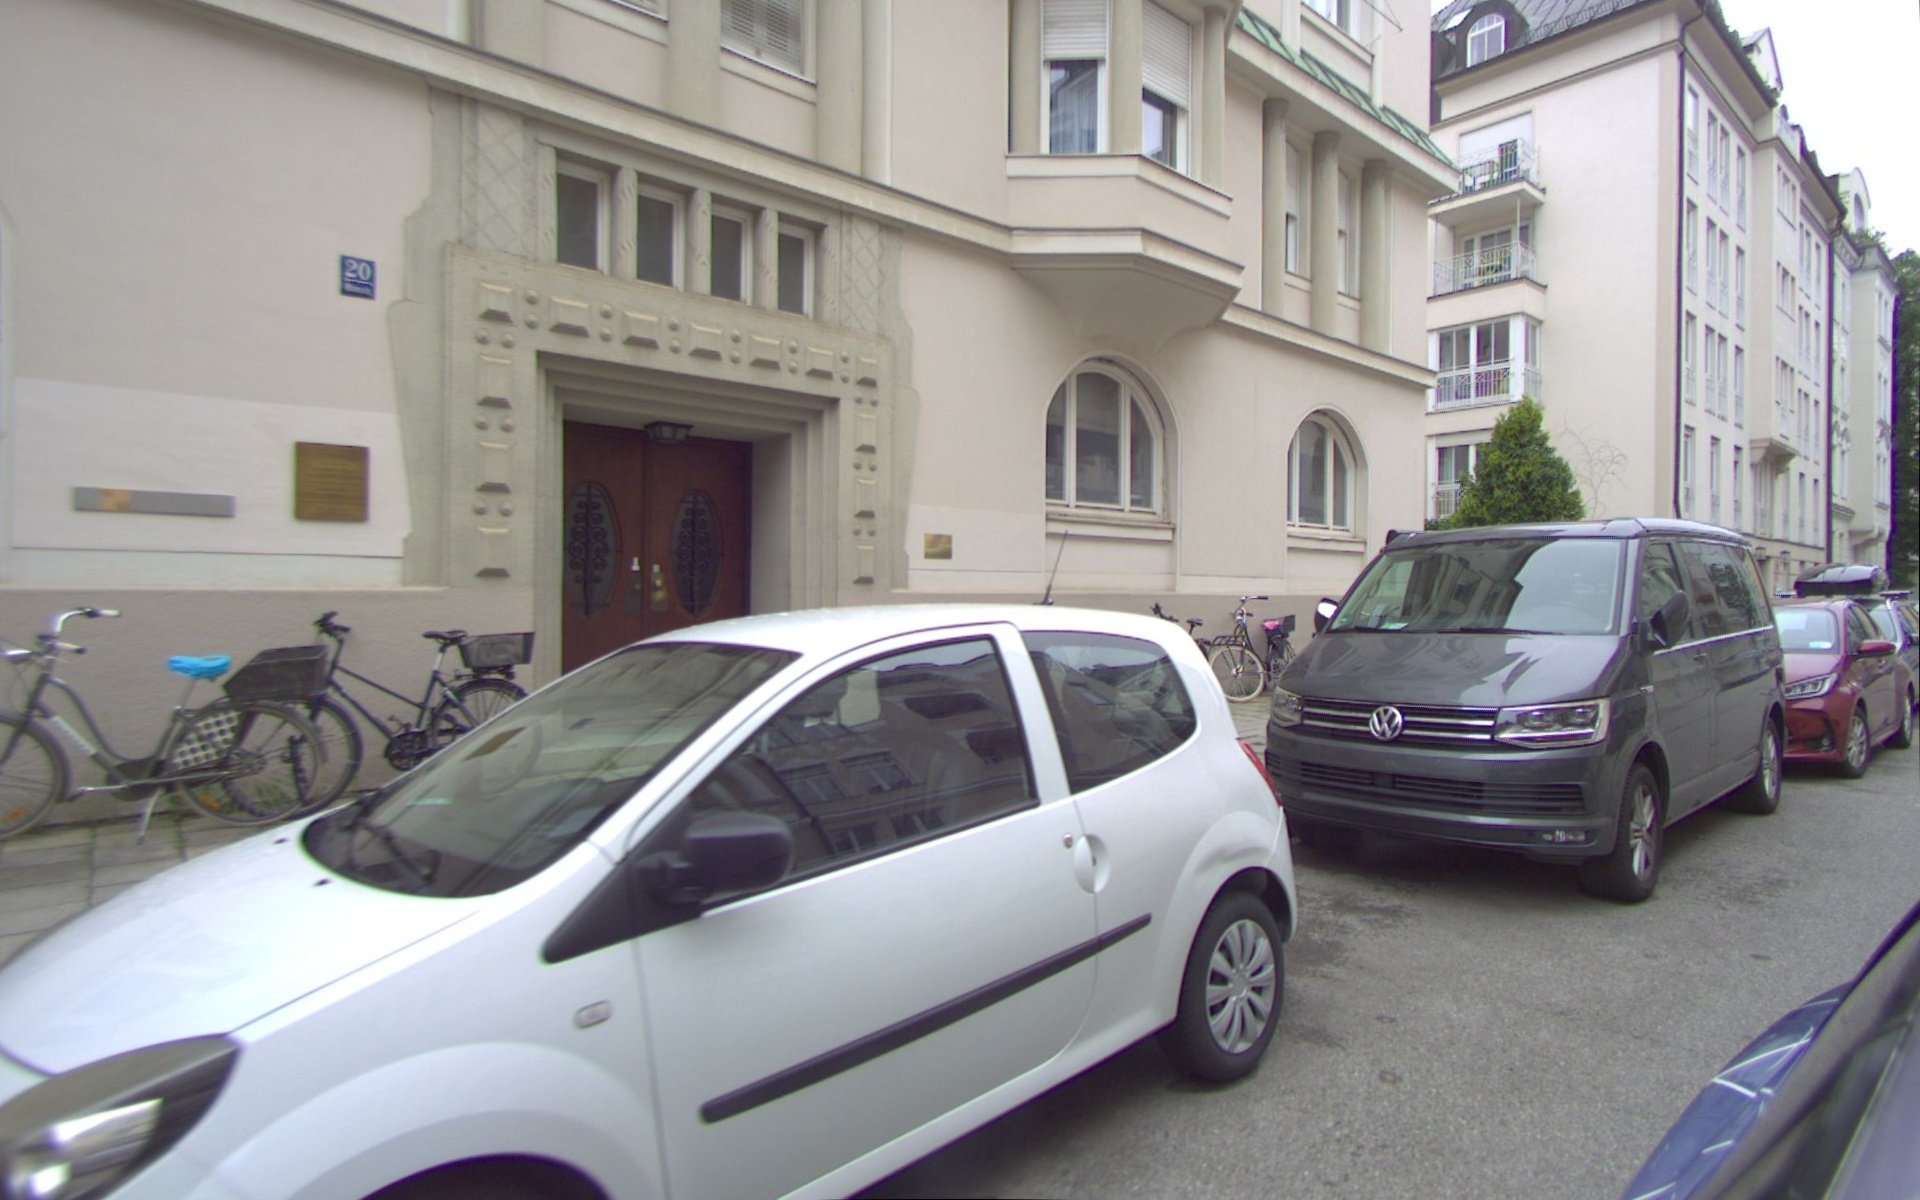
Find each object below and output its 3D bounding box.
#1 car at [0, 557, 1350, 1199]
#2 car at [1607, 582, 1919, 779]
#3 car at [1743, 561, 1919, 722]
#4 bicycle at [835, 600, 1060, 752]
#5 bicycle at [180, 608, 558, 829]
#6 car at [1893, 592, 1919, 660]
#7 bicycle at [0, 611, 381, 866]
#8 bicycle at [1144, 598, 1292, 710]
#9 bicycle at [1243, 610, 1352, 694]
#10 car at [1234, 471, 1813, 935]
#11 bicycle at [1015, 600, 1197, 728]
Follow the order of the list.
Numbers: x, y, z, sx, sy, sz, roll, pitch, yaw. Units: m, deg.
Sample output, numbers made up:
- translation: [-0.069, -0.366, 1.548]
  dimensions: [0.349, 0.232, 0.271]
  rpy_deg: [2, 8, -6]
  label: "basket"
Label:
- translation: [-0.481, 0.690, 2.880]
  dimensions: [3.612, 1.490, 1.494]
  rpy_deg: [0, -1, -42]
  label: "car"
- translation: [7.694, 0.587, 9.518]
  dimensions: [3.672, 1.485, 1.730]
  rpy_deg: [-1, 0, -41]
  label: "car"
- translation: [11.533, 0.440, 13.000]
  dimensions: [3.396, 1.800, 1.682]
  rpy_deg: [-1, 0, -41]
  label: "car"
- translation: [-0.072, 0.596, 8.812]
  dimensions: [1.933, 1.131, 0.719]
  rpy_deg: [-1, 3, -41]
  label: "bicycle"
- translation: [-3.516, 0.633, 6.160]
  dimensions: [1.933, 1.131, 0.493]
  rpy_deg: [-1, 0, -41]
  label: "bicycle"
- translation: [22.196, 0.547, 22.538]
  dimensions: [3.581, 1.460, 1.682]
  rpy_deg: [-1, 0, -41]
  label: "car"
- translation: [-4.162, 0.645, 5.246]
  dimensions: [1.933, 1.131, 0.642]
  rpy_deg: [-1, 0, -40]
  label: "bicycle"
- translation: [2.976, 0.568, 11.566]
  dimensions: [1.852, 1.131, 0.719]
  rpy_deg: [-1, 2, -42]
  label: "bicycle"
- translation: [4.329, 0.625, 12.913]
  dimensions: [1.787, 0.970, 0.539]
  rpy_deg: [-1, 0, -43]
  label: "bicycle"
- translation: [3.870, 0.428, 6.529]
  dimensions: [4.583, 1.961, 1.878]
  rpy_deg: [0, -1, -42]
  label: "car"
- translation: [1.504, 0.592, 10.225]
  dimensions: [1.933, 1.131, 0.719]
  rpy_deg: [-1, 2, -41]
  label: "bicycle"
